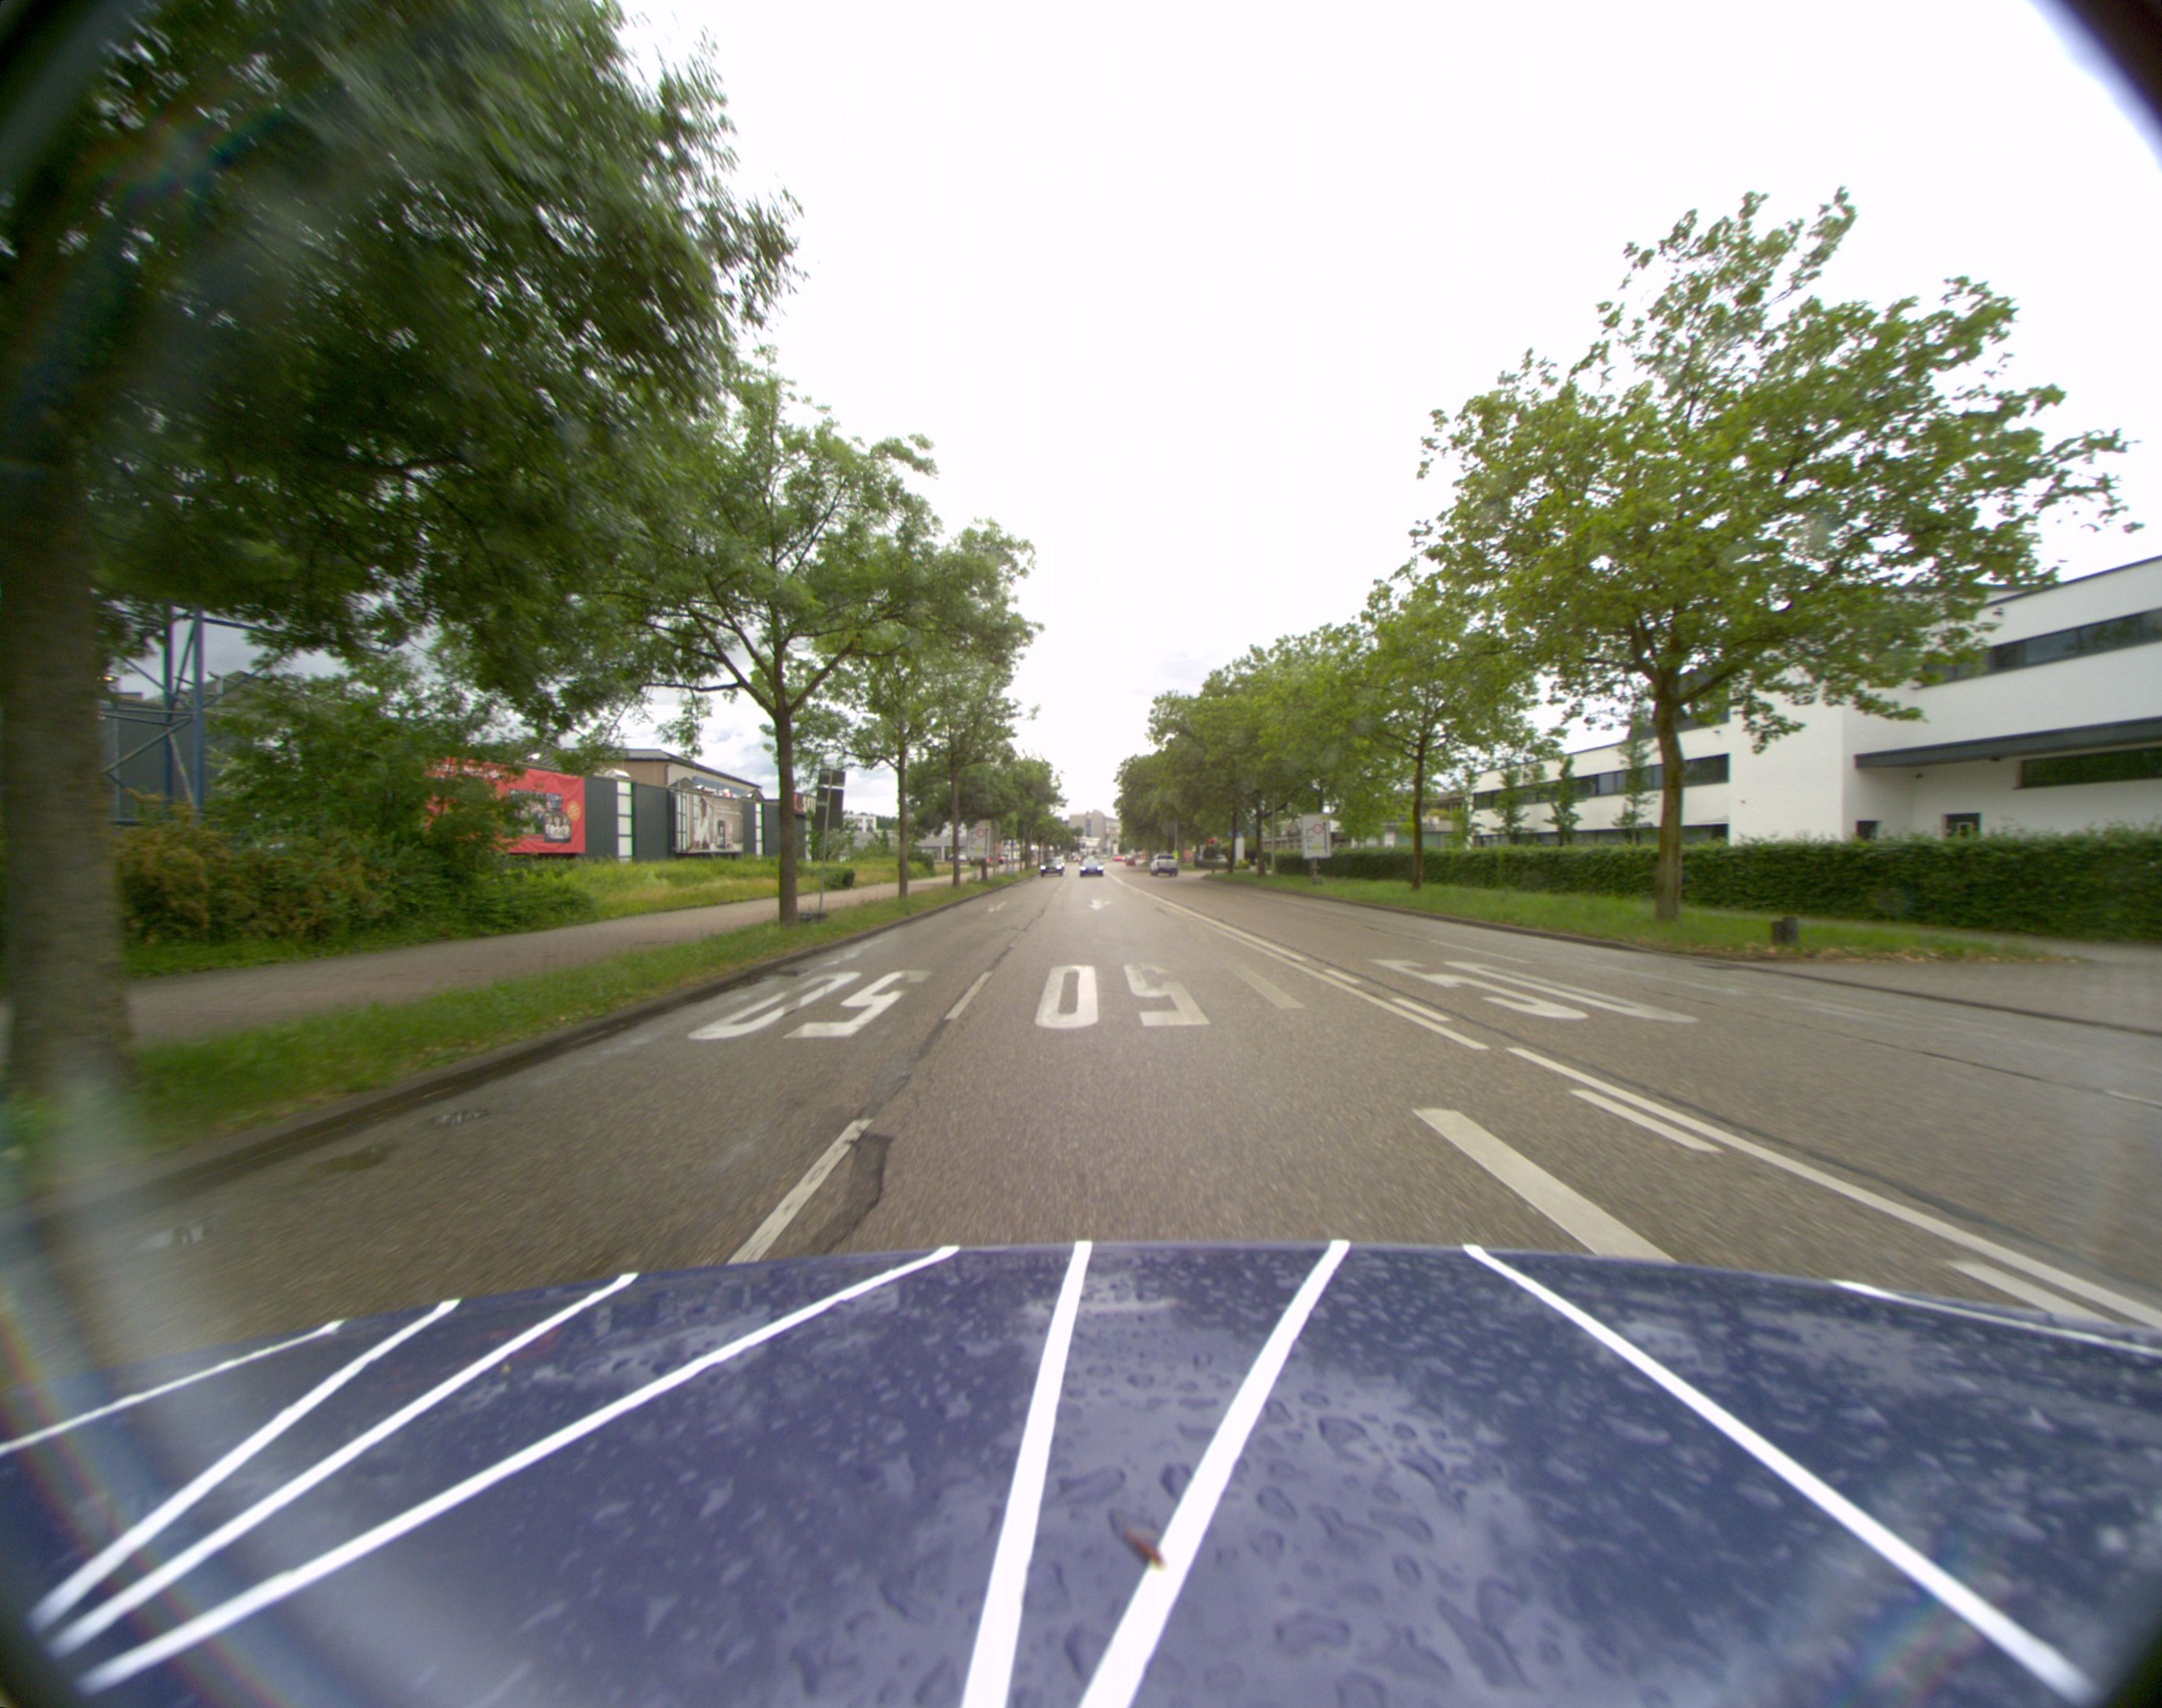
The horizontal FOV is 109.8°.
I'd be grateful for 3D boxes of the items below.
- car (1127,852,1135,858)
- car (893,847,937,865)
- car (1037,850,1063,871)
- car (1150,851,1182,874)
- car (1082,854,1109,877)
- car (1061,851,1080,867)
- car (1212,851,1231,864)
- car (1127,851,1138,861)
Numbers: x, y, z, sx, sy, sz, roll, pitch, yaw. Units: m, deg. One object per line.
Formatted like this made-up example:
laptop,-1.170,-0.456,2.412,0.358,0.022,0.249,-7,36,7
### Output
car,13.527,0.292,204.804,1.998,1.632,4.360,0,0,1
car,-19.457,0.242,89.393,4.966,2.002,1.998,1,0,-12
car,-2.672,0.548,66.089,1.998,1.632,4.360,-2,1,1
car,6.996,0.639,62.962,1.916,1.795,5.340,1,0,-1
car,1.114,0.880,59.717,1.998,1.632,4.360,-2,1,1
car,-1.221,0.581,87.904,1.998,1.632,4.360,-2,1,1
car,18.099,0.432,98.211,1.746,1.524,4.000,2,1,1
car,9.232,0.346,136.393,1.745,1.524,4.001,2,1,3
